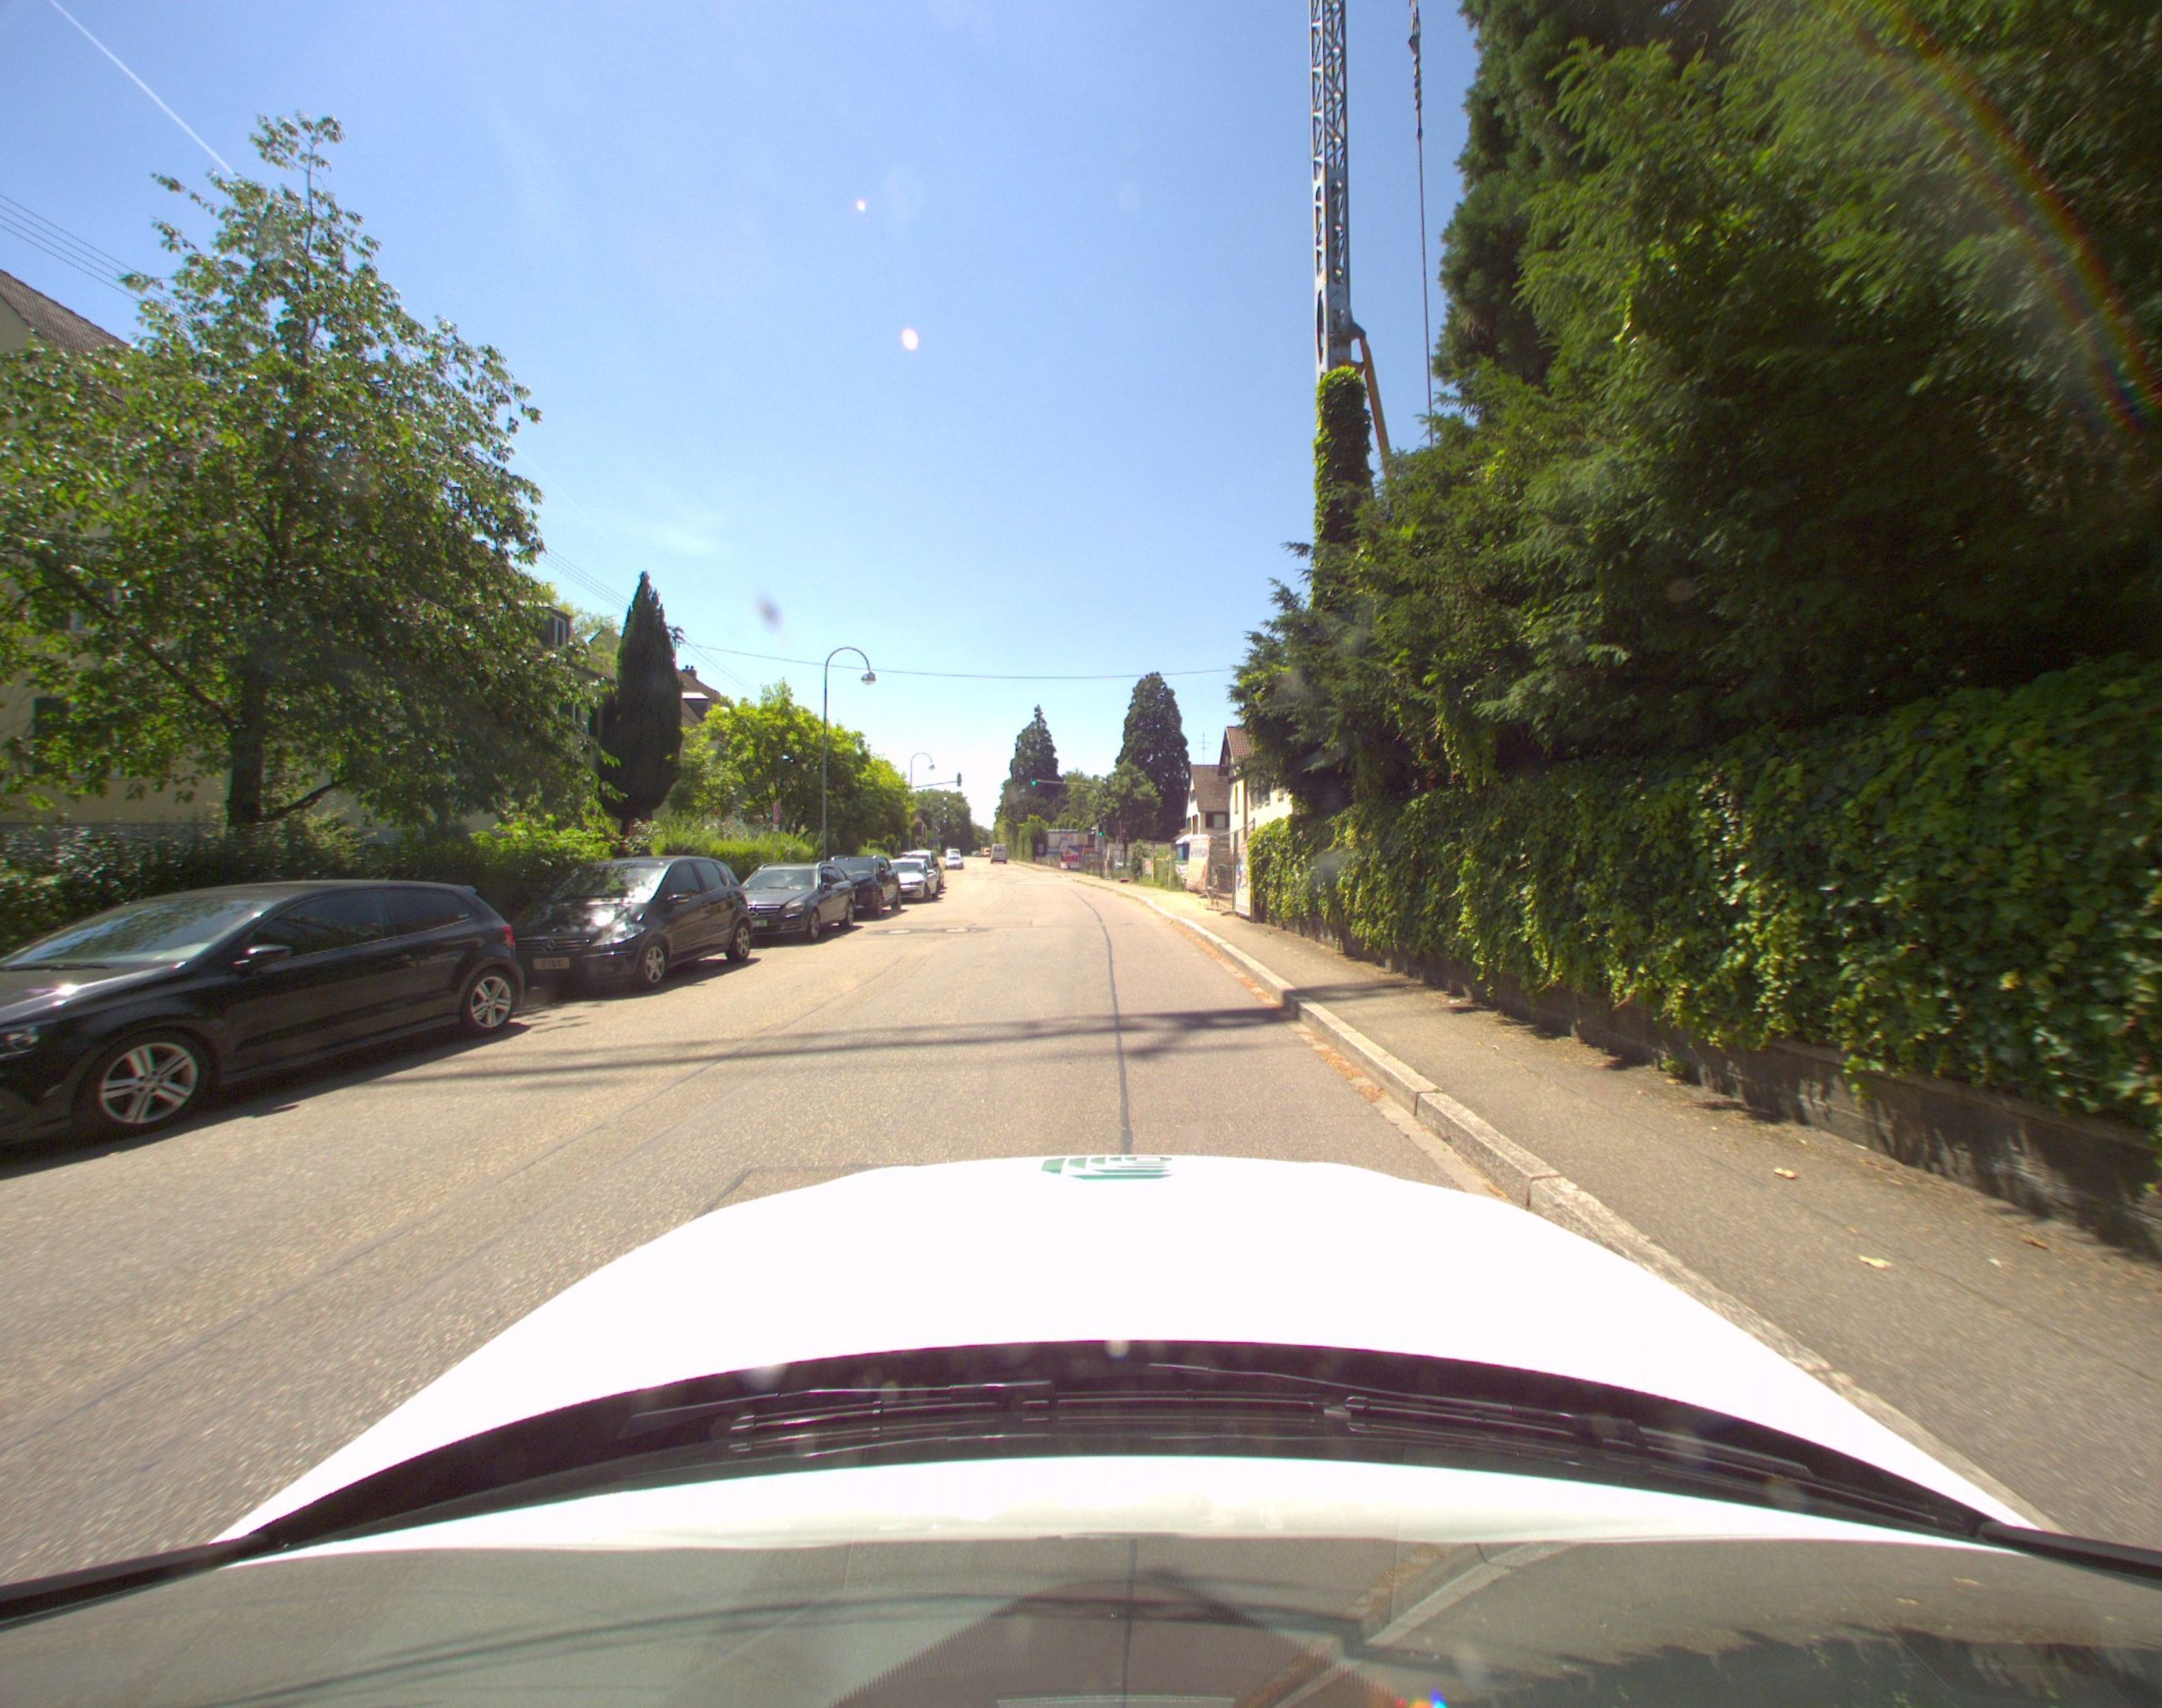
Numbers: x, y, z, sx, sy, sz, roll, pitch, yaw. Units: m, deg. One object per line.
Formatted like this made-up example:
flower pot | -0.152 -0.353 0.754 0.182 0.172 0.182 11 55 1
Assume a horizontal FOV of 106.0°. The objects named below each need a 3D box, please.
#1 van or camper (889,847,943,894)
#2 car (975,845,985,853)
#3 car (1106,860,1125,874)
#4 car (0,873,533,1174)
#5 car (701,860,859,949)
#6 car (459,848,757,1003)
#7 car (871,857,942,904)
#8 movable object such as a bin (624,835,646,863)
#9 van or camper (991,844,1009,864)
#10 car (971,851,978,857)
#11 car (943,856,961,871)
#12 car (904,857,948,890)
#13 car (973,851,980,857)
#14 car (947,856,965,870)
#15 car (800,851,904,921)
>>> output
van or camper | -6.804 0.653 33.963 1.678 1.804 3.979 -1 0 -5
car | -21.838 -1.106 175.722 1.993 1.662 3.987 1 0 -10
car | 3.456 1.250 80.226 1.704 1.270 3.389 1 0 4
car | -6.079 0.894 5.775 1.674 1.401 3.792 -1 0 3
car | -5.756 0.880 16.165 1.677 1.476 4.326 -1 0 -3
car | -5.851 0.776 10.676 1.676 1.639 3.789 -1 0 0
car | -5.934 0.856 28.069 1.677 1.441 4.242 -1 0 -3
movable object such as a bin | -19.537 -0.207 35.691 0.619 1.196 0.673 1 -1 -5
van or camper | -10.737 -0.011 107.503 2.260 2.528 4.748 -1 0 -7
car | -32.014 -0.059 244.536 1.993 1.662 3.987 1 0 -10
car | -12.988 0.946 81.820 1.759 1.447 3.911 -1 0 -10
car | -7.229 0.888 38.220 1.679 1.412 3.917 -1 0 -6
car | -29.483 -0.096 229.871 1.993 1.662 3.987 1 0 -10
car | -13.401 0.973 86.852 1.795 1.402 4.204 -1 0 -10
car | -5.920 0.769 21.559 1.677 1.637 4.326 -1 0 -3
